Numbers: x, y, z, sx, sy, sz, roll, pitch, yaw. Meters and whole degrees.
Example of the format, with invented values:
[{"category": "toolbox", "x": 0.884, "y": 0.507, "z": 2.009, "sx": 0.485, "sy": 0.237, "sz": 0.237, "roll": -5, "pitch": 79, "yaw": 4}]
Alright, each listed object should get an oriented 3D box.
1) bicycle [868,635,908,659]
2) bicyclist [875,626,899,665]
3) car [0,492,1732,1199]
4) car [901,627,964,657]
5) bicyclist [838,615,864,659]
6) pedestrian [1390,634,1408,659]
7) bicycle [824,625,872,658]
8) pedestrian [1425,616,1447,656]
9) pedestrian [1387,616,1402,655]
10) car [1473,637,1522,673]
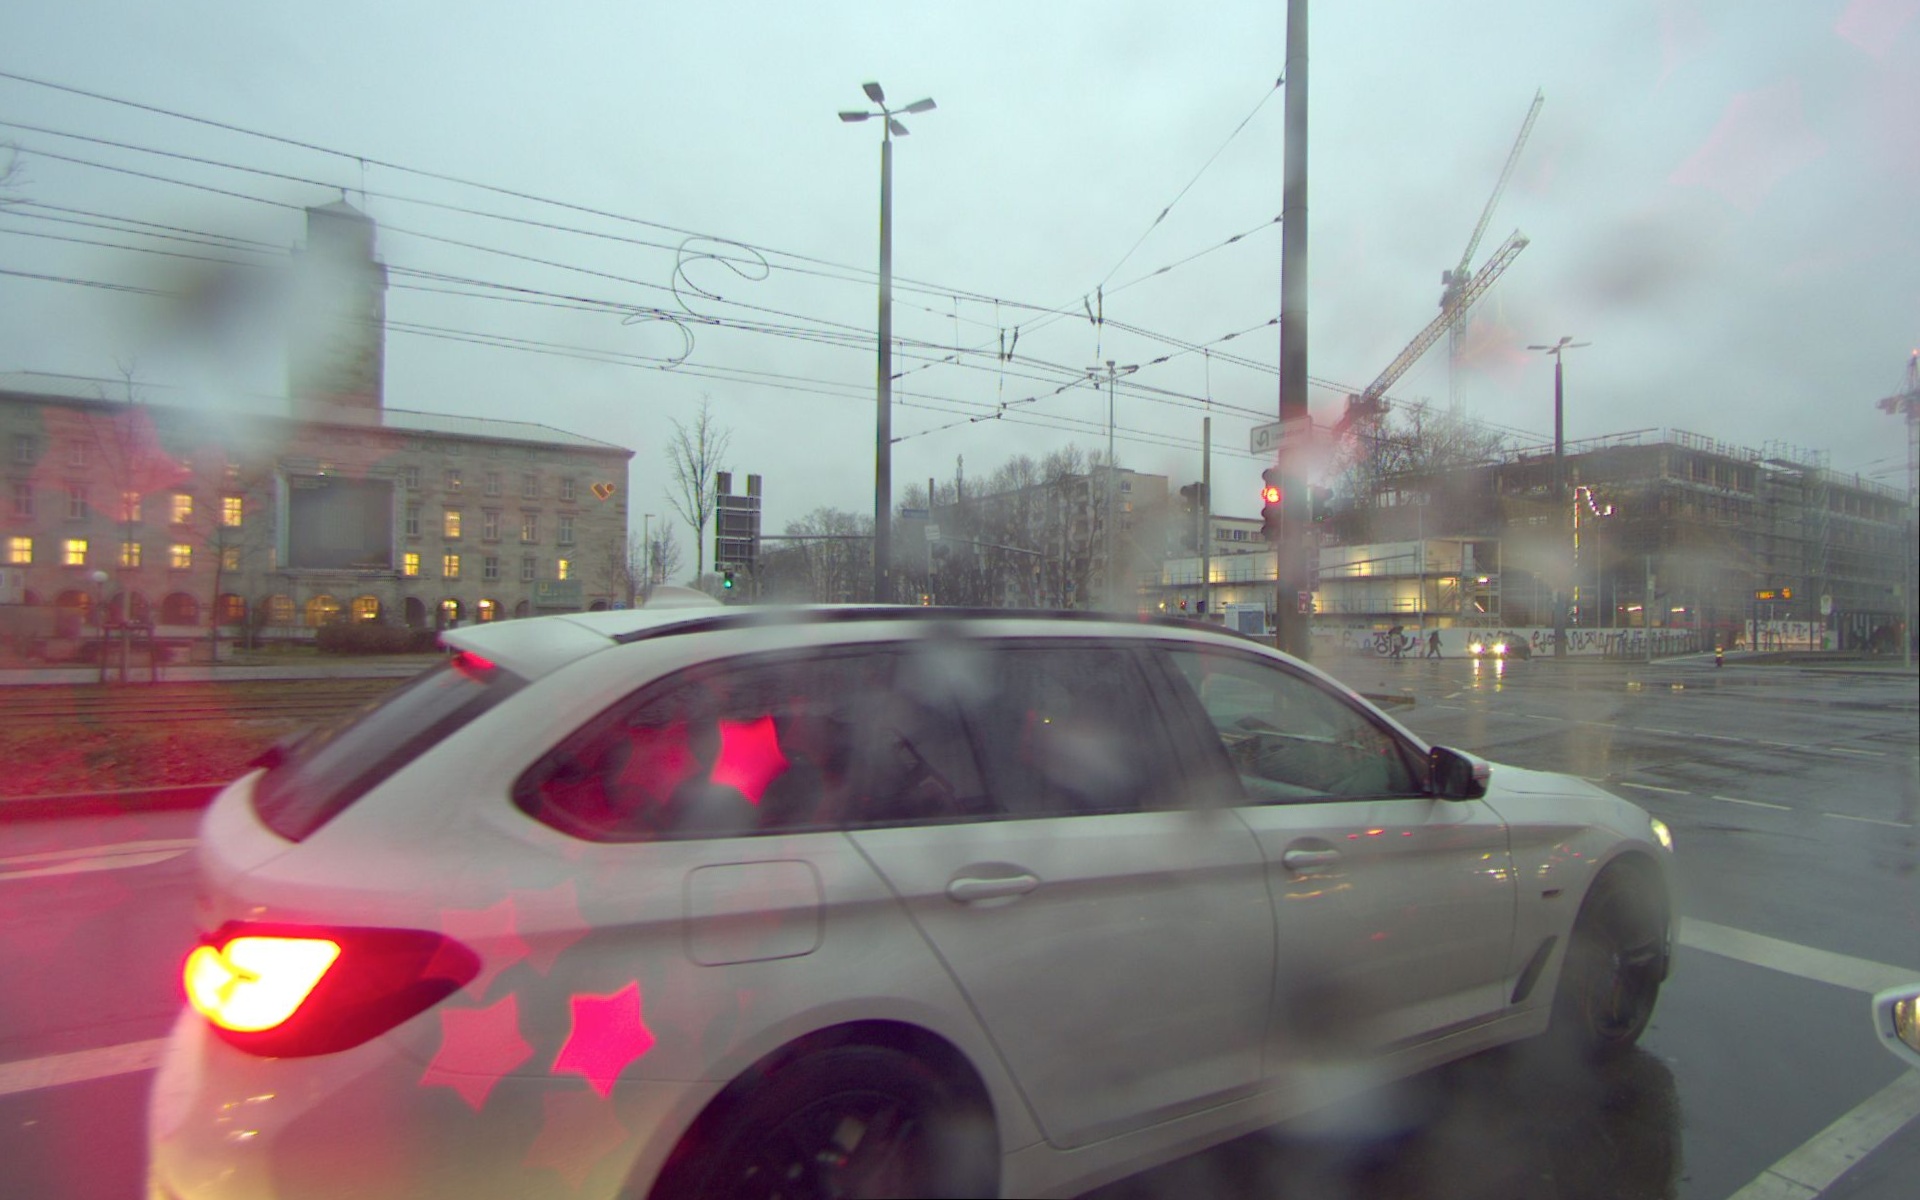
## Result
[{"category": "bicycle", "x": -3.234, "y": 2.081, "z": 44.790, "sx": 0.612, "sy": 1.046, "sz": 2.356, "roll": 2, "pitch": -2, "yaw": -36}, {"category": "bicyclist", "x": -3.252, "y": 2.040, "z": 44.825, "sx": 0.612, "sy": 1.719, "sz": 1.026, "roll": 2, "pitch": -2, "yaw": -36}, {"category": "car", "x": 0.293, "y": 0.714, "z": 3.240, "sx": 4.868, "sy": 1.540, "sz": 1.900, "roll": 2, "pitch": -2, "yaw": -32}, {"category": "car", "x": -1.664, "y": 2.485, "z": 59.572, "sx": 1.978, "sy": 1.706, "sz": 3.965, "roll": 1, "pitch": -2, "yaw": -33}, {"category": "bicyclist", "x": -4.735, "y": 1.592, "z": 43.527, "sx": 0.714, "sy": 1.863, "sz": 0.986, "roll": 2, "pitch": -3, "yaw": -39}, {"category": "pedestrian", "x": 26.567, "y": 2.816, "z": 60.848, "sx": 0.785, "sy": 1.549, "sz": 0.643, "roll": 1, "pitch": -2, "yaw": -23}, {"category": "bicycle", "x": -4.902, "y": 1.805, "z": 43.791, "sx": 0.714, "sy": 1.380, "sz": 2.809, "roll": 2, "pitch": -3, "yaw": -38}, {"category": "pedestrian", "x": 24.983, "y": 1.885, "z": 52.692, "sx": 0.741, "sy": 2.040, "sz": 0.785, "roll": 3, "pitch": -3, "yaw": -40}, {"category": "pedestrian", "x": 22.990, "y": 1.901, "z": 53.163, "sx": 0.635, "sy": 2.039, "sz": 0.503, "roll": 4, "pitch": -4, "yaw": -40}, {"category": "car", "x": 31.673, "y": 3.195, "z": 59.167, "sx": 1.736, "sy": 2.040, "sz": 3.980, "roll": -1, "pitch": -2, "yaw": 41}]
